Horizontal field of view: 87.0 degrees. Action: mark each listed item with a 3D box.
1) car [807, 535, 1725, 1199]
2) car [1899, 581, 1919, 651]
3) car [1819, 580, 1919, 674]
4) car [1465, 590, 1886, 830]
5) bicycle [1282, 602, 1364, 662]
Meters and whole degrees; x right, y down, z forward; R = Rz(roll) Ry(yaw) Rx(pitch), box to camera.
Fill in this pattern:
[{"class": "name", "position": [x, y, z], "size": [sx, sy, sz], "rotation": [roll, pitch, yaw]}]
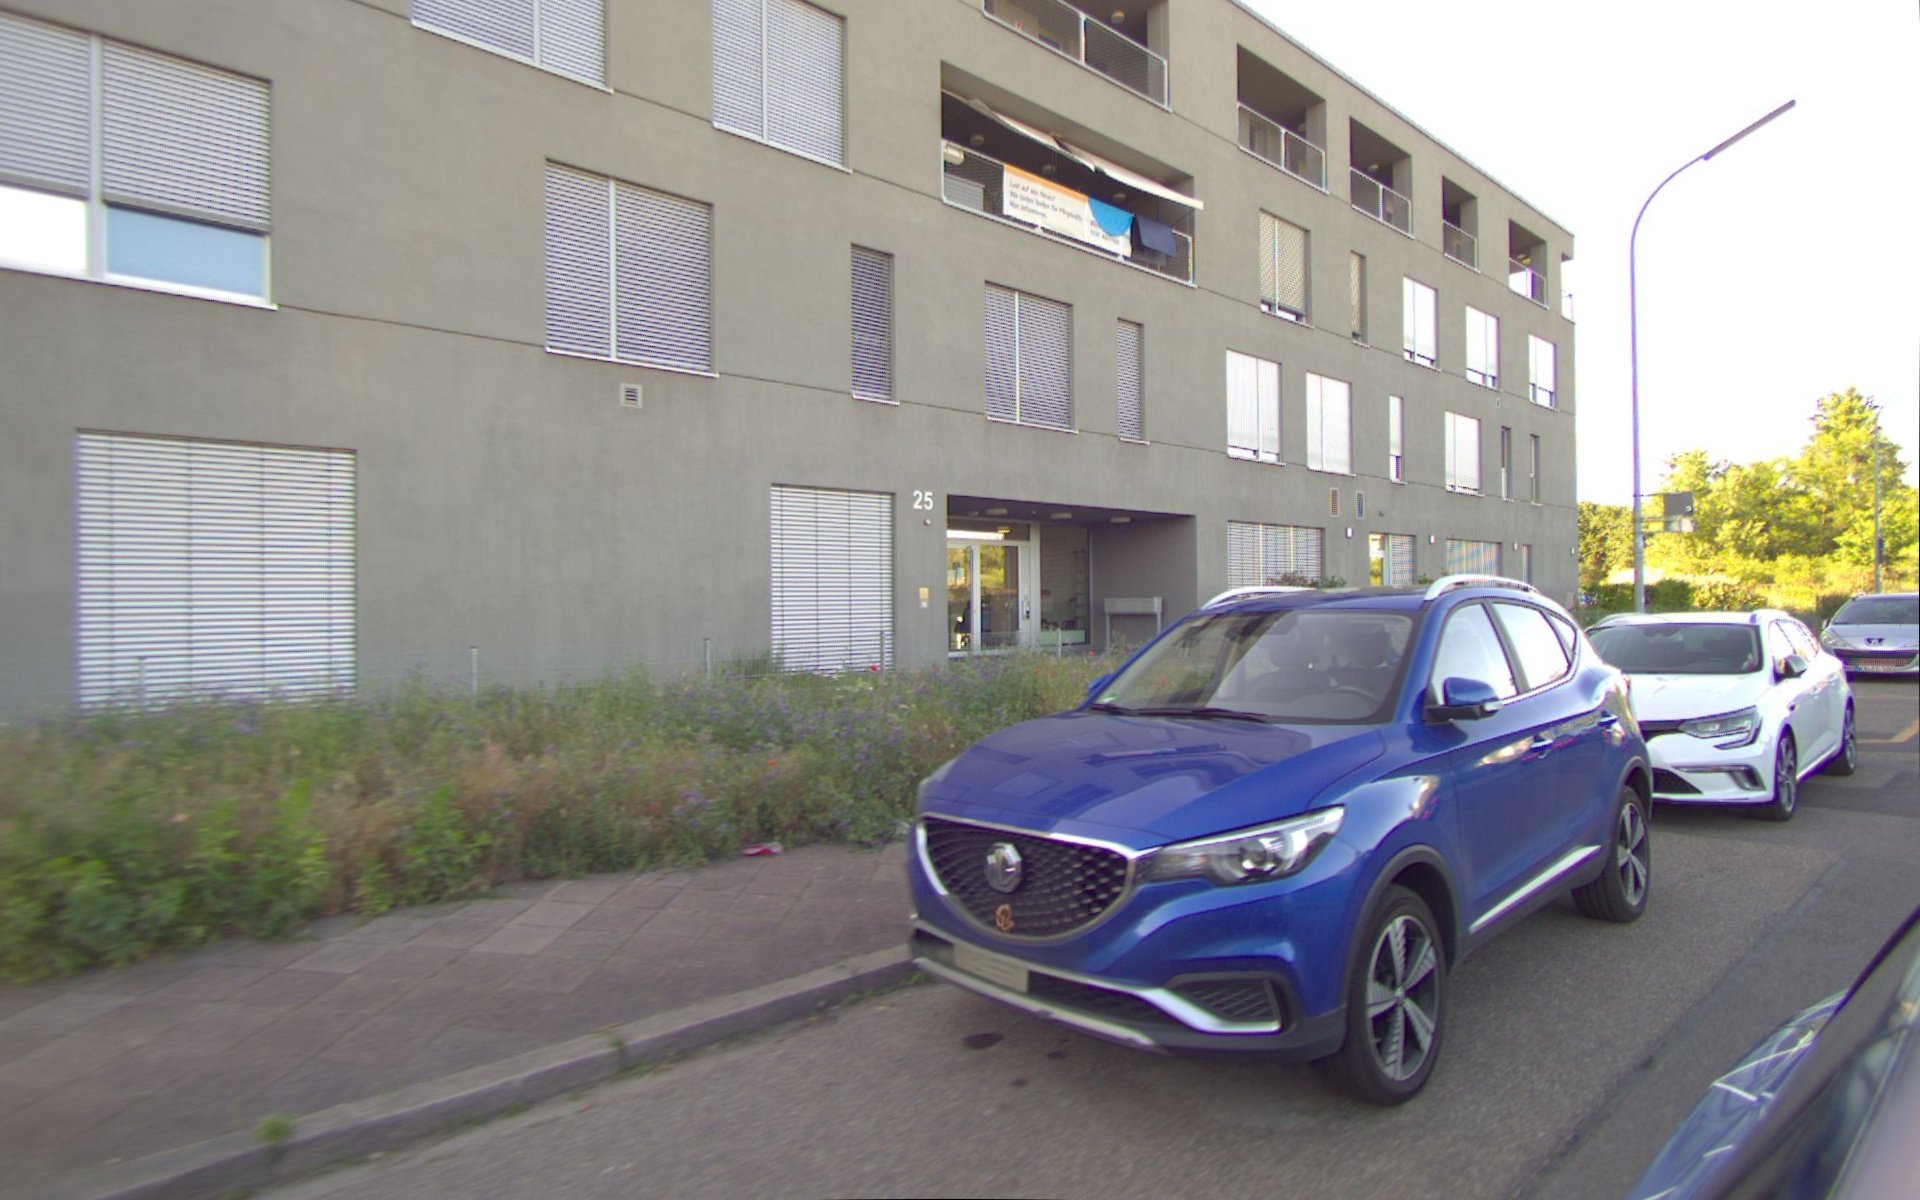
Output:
[{"class": "car", "position": [1.743, 0.670, 4.531], "size": [4.548, 1.620, 1.819], "rotation": [-1, -2, -42]}, {"class": "car", "position": [23.930, 0.302, 24.013], "size": [4.717, 1.587, 1.748], "rotation": [-1, -1, -39]}, {"class": "car", "position": [17.111, 0.423, 18.330], "size": [4.082, 1.546, 1.709], "rotation": [-1, -1, -40]}, {"class": "car", "position": [6.059, 0.687, 8.342], "size": [4.505, 1.448, 1.747], "rotation": [-1, -2, -41]}, {"class": "bicycle", "position": [6.964, 0.589, 19.383], "size": [1.808, 1.075, 0.553], "rotation": [-1, -1, -37]}]
